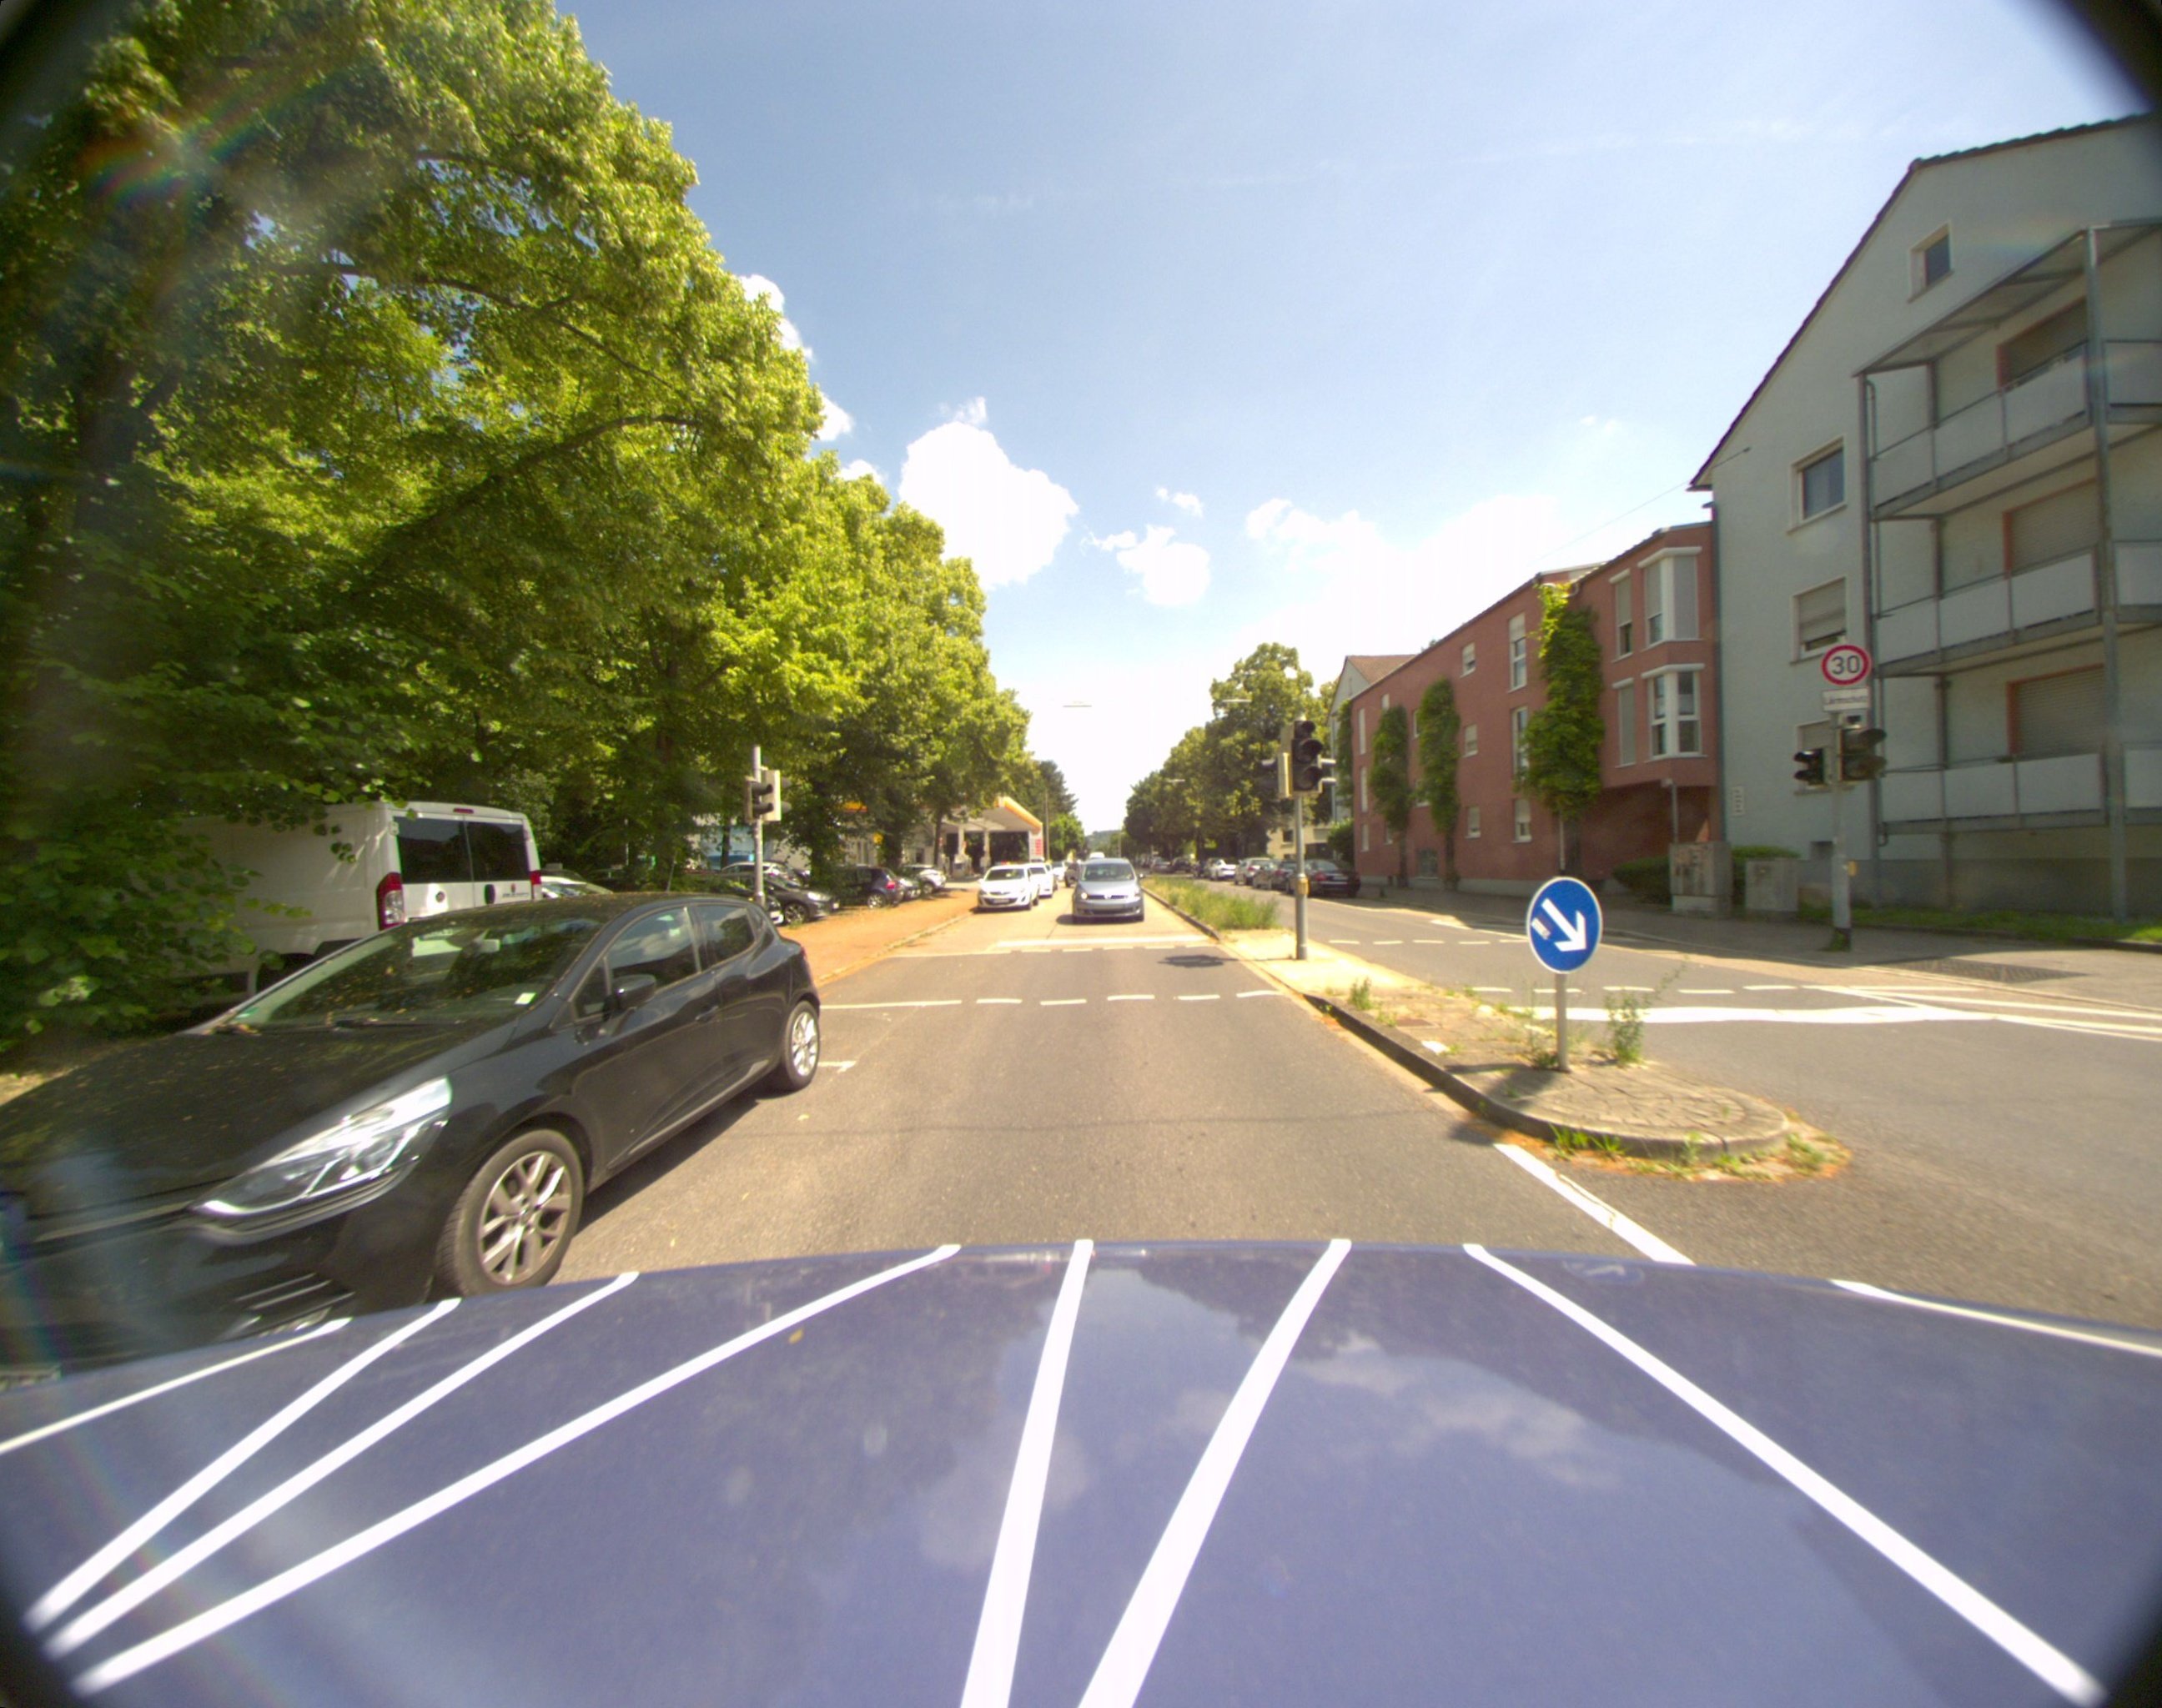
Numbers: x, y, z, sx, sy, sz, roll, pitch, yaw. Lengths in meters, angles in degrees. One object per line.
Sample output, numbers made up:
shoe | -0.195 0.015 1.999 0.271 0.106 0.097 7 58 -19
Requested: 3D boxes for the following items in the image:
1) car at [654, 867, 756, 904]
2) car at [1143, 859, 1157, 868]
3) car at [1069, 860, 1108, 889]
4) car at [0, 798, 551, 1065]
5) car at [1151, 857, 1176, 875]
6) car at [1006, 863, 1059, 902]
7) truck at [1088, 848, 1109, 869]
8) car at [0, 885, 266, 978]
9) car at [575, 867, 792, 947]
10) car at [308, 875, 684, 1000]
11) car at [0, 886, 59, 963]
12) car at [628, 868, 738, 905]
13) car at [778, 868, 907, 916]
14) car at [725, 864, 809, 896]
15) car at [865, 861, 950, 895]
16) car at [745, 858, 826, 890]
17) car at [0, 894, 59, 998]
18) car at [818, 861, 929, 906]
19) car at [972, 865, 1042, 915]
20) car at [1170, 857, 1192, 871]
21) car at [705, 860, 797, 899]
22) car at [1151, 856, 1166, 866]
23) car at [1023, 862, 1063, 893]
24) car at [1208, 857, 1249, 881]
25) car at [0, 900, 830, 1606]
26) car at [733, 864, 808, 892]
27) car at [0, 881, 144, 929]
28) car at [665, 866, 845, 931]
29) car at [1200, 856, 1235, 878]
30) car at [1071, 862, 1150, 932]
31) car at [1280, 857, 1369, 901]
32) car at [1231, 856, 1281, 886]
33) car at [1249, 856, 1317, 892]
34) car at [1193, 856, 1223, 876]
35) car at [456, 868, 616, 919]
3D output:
car | -17.362 1.431 35.222 3.808 1.574 1.737 -1 0 -4
car | 11.011 1.472 121.610 1.757 1.325 3.608 -2 0 0
car | 0.351 1.131 43.011 1.868 1.516 4.291 -2 0 -4
car | -8.744 0.761 8.099 4.614 2.263 2.106 -3 0 1
car | 7.523 1.054 69.359 1.752 1.499 4.000 -2 0 0
car | -2.042 1.185 32.980 1.867 1.516 4.209 -2 0 2
truck | 2.020 0.529 85.482 1.866 2.211 4.506 -2 0 6
car | -17.552 1.346 13.624 3.996 1.464 1.805 -1 0 3
car | -9.066 1.185 17.562 4.078 1.485 1.636 -3 0 0
car | -8.850 1.226 11.793 4.336 1.485 1.809 -3 0 0
car | -23.127 1.441 14.966 3.806 1.483 1.738 -1 0 3
car | -17.055 1.385 32.716 3.808 1.456 1.737 -1 0 -3
car | -7.927 1.245 25.573 3.848 1.350 1.629 -2 0 -7
car | -16.901 1.367 41.008 3.808 1.608 1.737 -1 0 -3
car | -8.516 1.165 37.475 3.762 1.518 1.853 -1 0 -2
car | -18.645 1.244 48.071 4.374 1.985 1.854 -1 0 -3
car | -17.504 1.358 10.674 3.996 1.464 1.805 -1 0 3
car | -8.005 1.130 29.435 3.763 1.526 1.631 -2 0 12
car | -2.392 1.137 25.624 1.721 1.434 4.112 -3 0 2
car | 10.262 1.055 78.183 1.757 1.325 3.608 -2 0 0
car | -16.778 1.275 38.764 3.808 1.840 1.932 -1 0 -3
car | 10.740 0.941 105.399 1.757 1.325 3.608 -2 0 0
car | -1.912 1.163 39.154 1.775 1.434 3.339 -2 0 2
car | 9.393 0.926 48.735 1.752 1.433 4.000 -2 0 0
car | -2.824 1.077 3.789 1.667 1.419 4.000 -2 0 2
car | -18.542 1.430 45.490 3.808 1.608 1.737 -1 0 -3
car | -33.051 1.645 24.540 3.805 1.403 1.739 -1 0 7
car | -8.690 1.174 20.507 4.078 1.485 1.636 -2 0 0
car | 9.908 0.907 55.247 1.752 1.499 4.000 -2 0 0
car | 0.856 0.990 19.261 1.746 1.513 4.225 -2 0 5
car | 9.272 0.894 29.318 1.891 1.531 4.568 -1 0 -1
car | 9.563 0.888 41.801 1.752 1.499 4.000 -2 0 0
car | 9.388 0.894 35.679 1.891 1.531 4.568 -1 0 -1
car | 10.053 0.949 60.413 1.572 1.499 4.000 -2 0 0
car | -17.833 1.268 25.006 3.956 1.513 1.737 -1 0 -4
